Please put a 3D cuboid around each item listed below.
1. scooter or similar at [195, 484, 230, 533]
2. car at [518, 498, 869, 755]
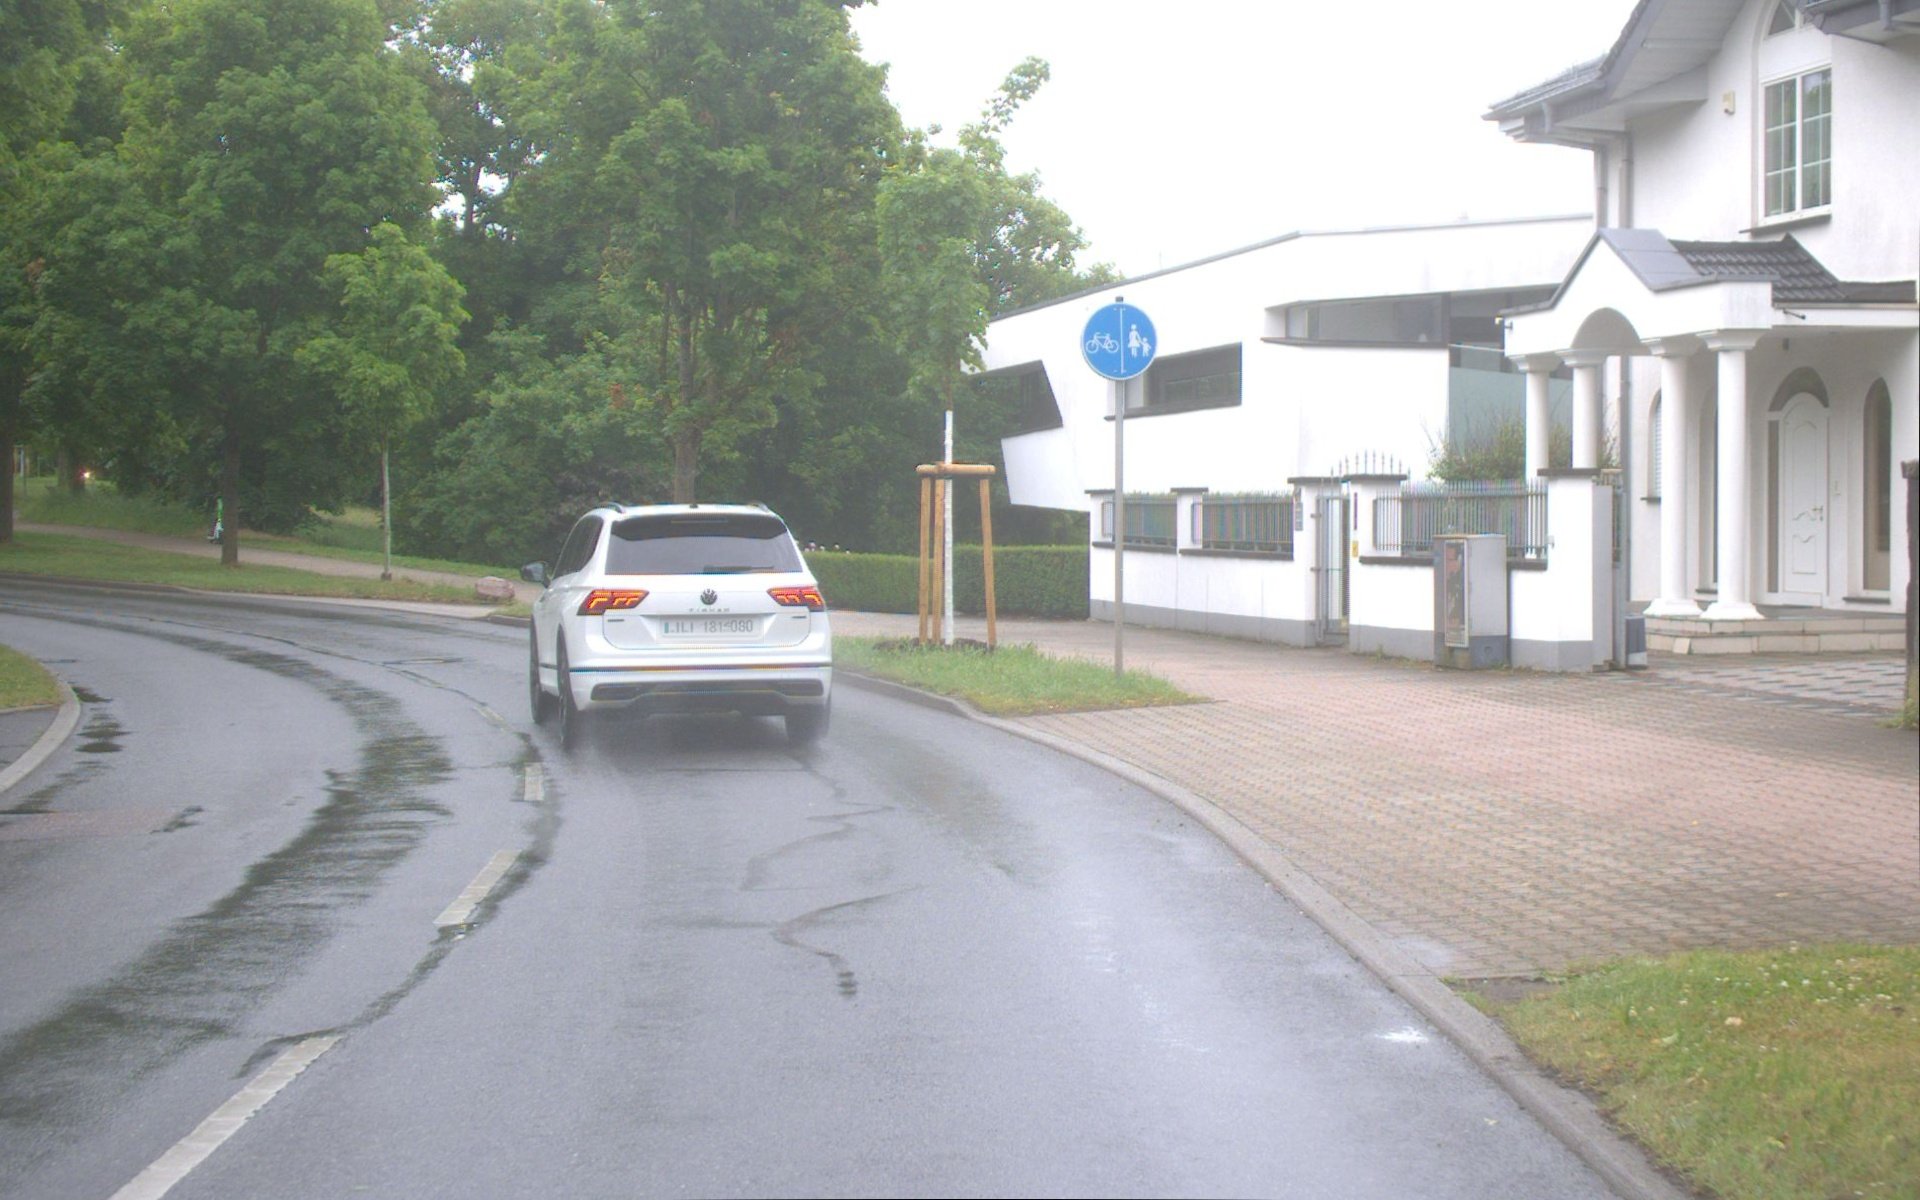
[{"bbox_3d":[-17.715,-2.171,81.450,0.463,1.142,1.301,-2,3,-27],"label":"scooter or similar"},{"bbox_3d":[-1.988,0.122,24.441,1.973,1.647,4.178,-1,1,-11],"label":"car"}]
